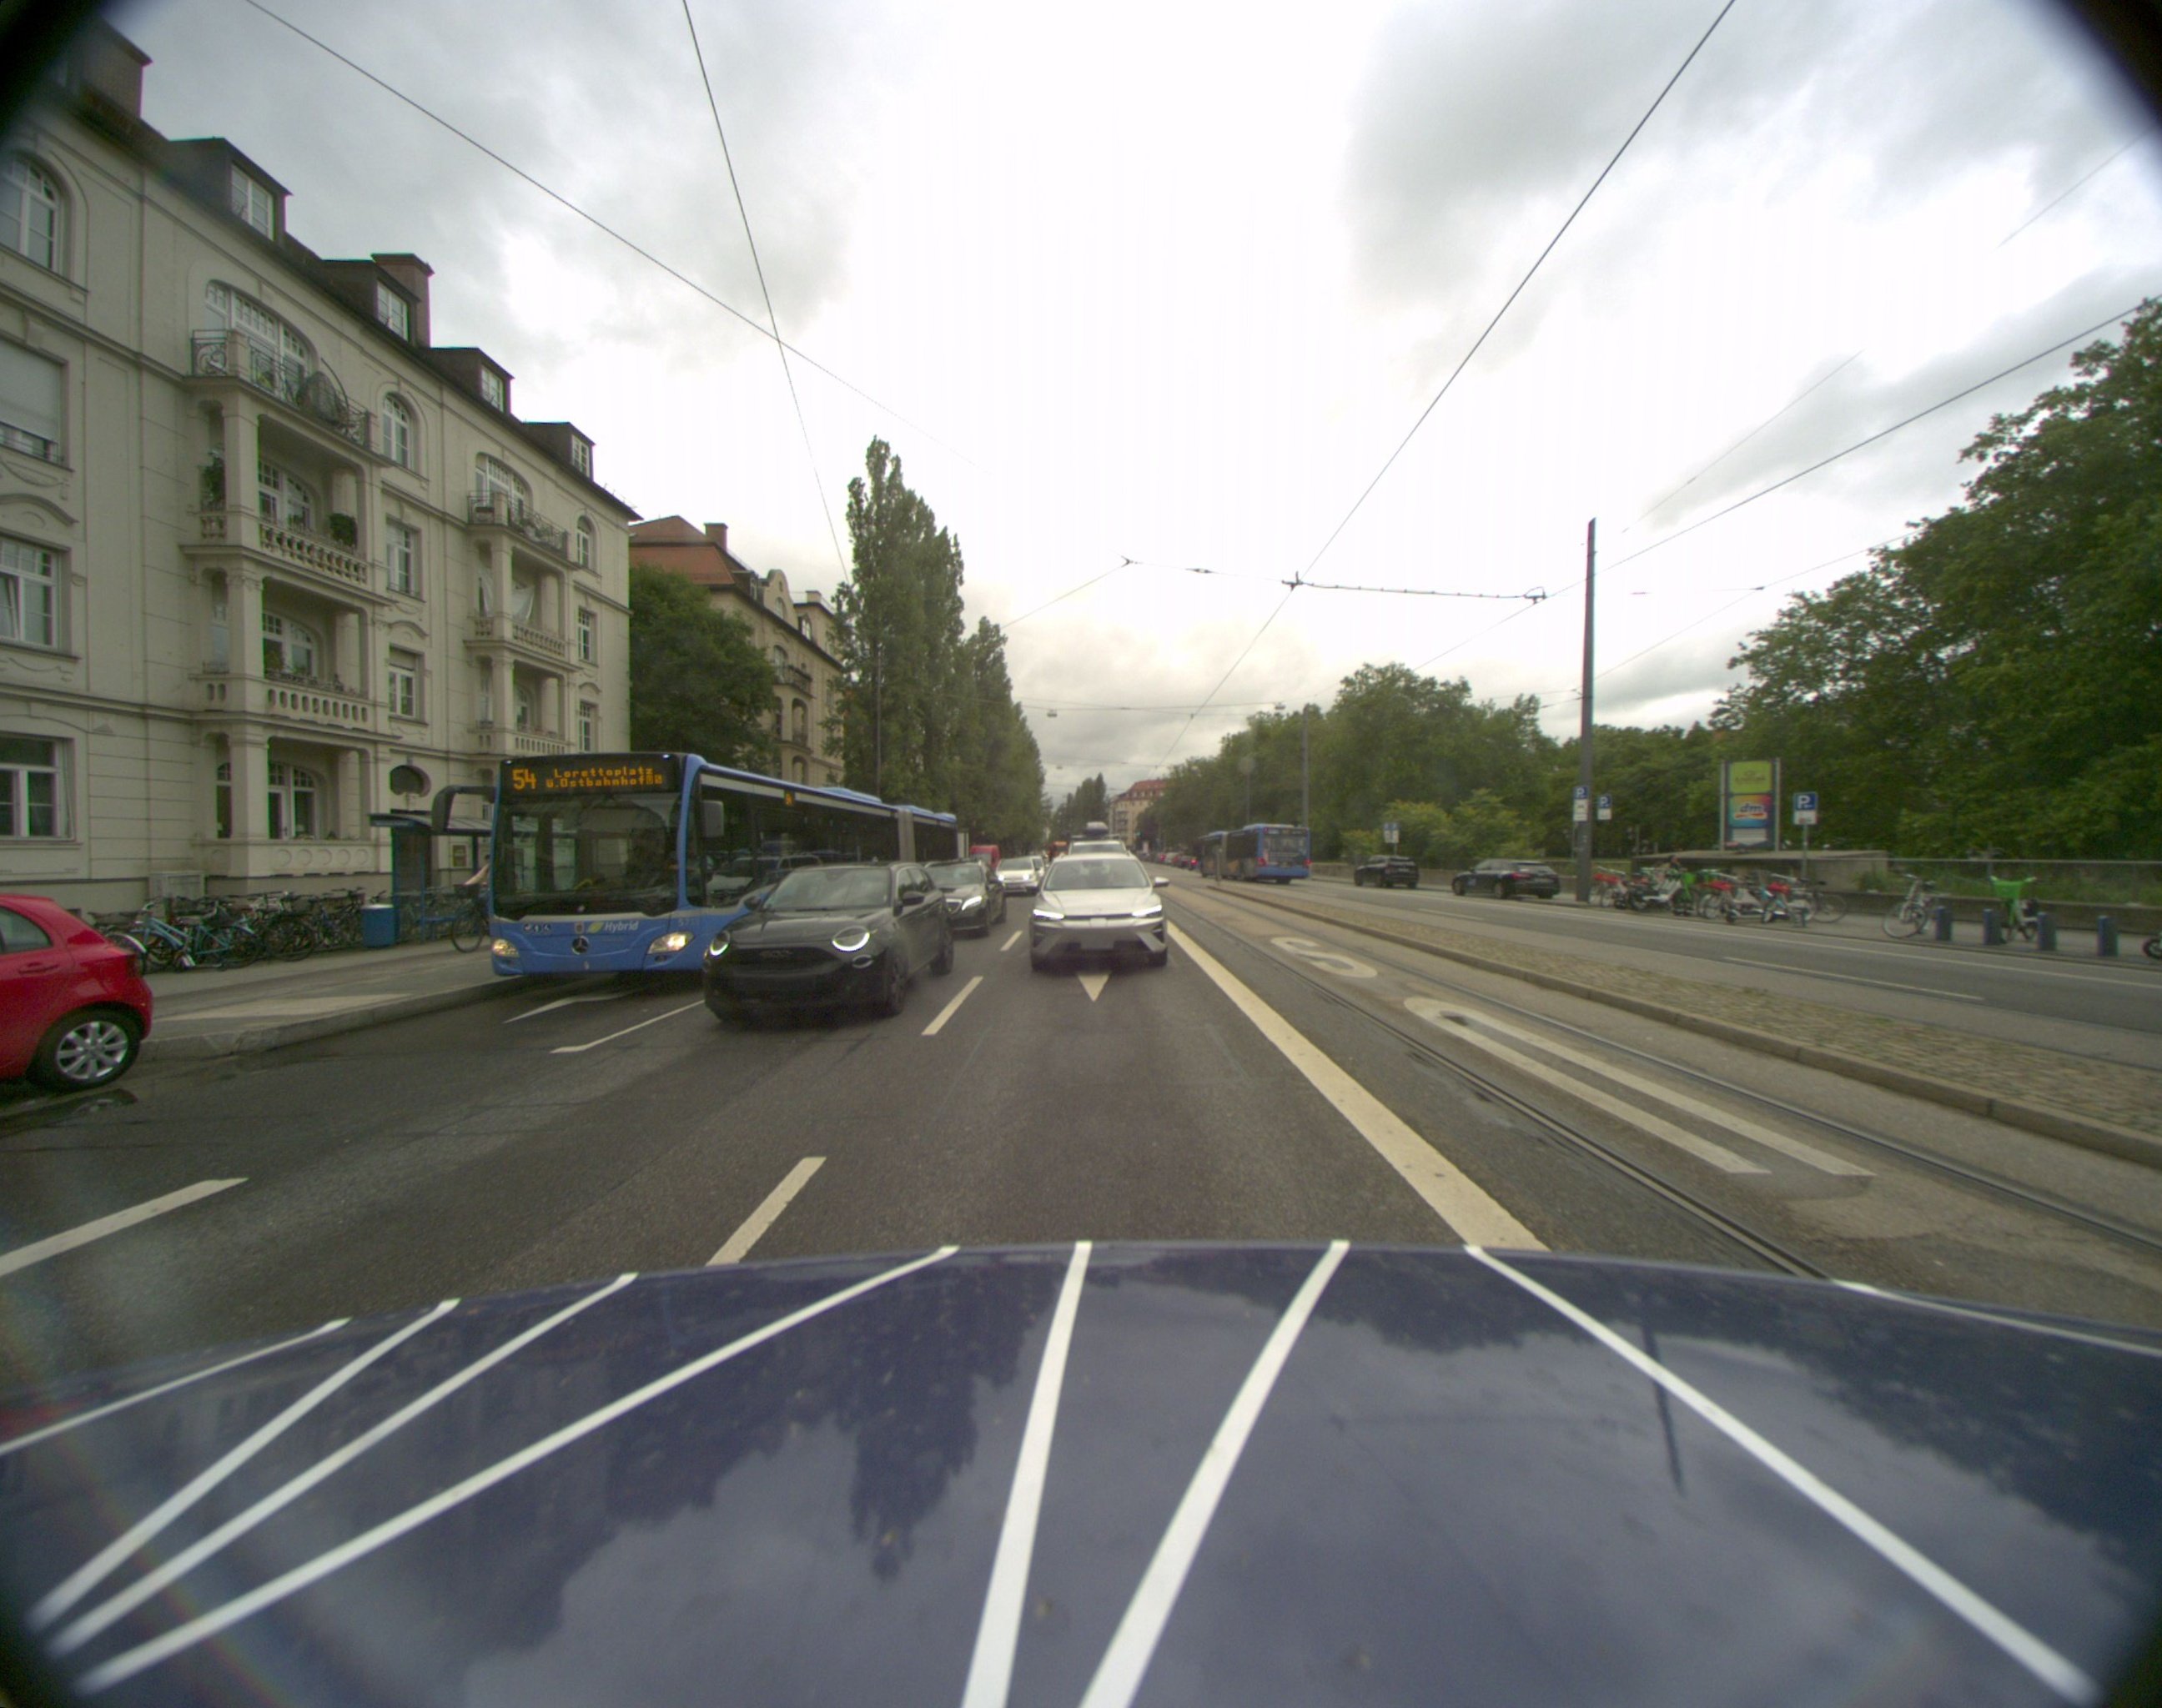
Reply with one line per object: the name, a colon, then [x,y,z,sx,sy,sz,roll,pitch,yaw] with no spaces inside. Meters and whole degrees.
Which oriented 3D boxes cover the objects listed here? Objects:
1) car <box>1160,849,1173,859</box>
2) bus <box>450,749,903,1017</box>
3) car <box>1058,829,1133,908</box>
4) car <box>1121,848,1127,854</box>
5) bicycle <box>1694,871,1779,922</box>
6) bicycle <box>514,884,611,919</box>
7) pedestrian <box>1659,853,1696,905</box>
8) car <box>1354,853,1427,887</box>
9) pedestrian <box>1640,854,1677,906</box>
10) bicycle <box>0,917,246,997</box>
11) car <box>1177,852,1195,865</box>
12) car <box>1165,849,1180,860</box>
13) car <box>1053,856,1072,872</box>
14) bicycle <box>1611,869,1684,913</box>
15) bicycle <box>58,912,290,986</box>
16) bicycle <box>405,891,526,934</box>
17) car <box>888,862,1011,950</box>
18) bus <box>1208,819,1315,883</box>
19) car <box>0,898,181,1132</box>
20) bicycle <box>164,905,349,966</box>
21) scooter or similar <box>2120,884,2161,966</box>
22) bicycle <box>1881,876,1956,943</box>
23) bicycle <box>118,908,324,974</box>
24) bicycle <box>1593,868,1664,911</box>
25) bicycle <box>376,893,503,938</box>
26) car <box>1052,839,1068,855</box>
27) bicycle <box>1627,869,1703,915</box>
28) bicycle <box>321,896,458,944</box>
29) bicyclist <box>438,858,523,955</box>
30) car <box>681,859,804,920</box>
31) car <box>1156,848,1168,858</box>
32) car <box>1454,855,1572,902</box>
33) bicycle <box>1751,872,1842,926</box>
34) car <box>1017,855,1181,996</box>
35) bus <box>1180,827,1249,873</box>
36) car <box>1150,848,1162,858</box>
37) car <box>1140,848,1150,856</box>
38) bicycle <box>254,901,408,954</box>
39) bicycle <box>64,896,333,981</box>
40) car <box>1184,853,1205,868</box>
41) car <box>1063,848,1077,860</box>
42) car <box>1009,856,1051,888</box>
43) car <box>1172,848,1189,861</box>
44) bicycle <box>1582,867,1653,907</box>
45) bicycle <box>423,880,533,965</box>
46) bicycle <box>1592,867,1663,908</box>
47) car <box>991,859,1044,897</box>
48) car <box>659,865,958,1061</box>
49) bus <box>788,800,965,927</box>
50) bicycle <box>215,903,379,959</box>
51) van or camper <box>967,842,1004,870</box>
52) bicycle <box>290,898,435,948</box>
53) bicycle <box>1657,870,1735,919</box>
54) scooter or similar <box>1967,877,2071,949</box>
car: [13.813,-0.036,122.823,1.809,1.674,4.000,0,1,1]
bus: [-5.702,0.299,13.367,2.637,2.957,9.466,-2,0,1]
car: [0.402,0.378,22.225,1.998,2.100,4.000,0,1,1]
car: [11.441,-0.744,201.683,1.628,1.474,3.602,0,1,1]
bicycle: [15.686,0.997,18.192,1.693,1.165,0.561,0,1,-9]
bicycle: [-14.909,1.367,21.886,2.323,0.916,0.600,-1,1,-2]
pedestrian: [18.321,0.761,23.354,0.632,1.549,0.589,1,1,0]
car: [15.167,0.762,37.490,1.998,1.561,4.101,0,1,1]
pedestrian: [17.628,0.795,23.204,0.632,1.549,0.589,1,1,0]
bicycle: [-13.624,1.436,10.820,2.326,0.916,0.586,-2,1,-16]
car: [13.021,0.554,94.458,1.809,1.633,4.000,0,1,1]
car: [13.777,0.055,114.441,1.809,1.674,4.000,0,1,1]
car: [-1.724,0.945,72.403,1.704,1.513,3.632,1,0,0]
bicycle: [15.298,0.987,20.532,1.693,1.165,0.505,0,1,-7]
bicycle: [-13.849,1.436,11.684,2.326,0.916,0.586,-2,1,-16]
bicycle: [-14.896,1.405,18.426,2.323,0.916,0.640,-1,1,-2]
car: [-2.555,0.958,15.761,1.704,1.425,4.244,-3,1,1]
bus: [9.701,-0.197,42.861,2.632,2.950,13.413,1,1,-1]
car: [-8.150,1.128,4.268,1.730,1.500,3.742,1,1,0]
bicycle: [-14.739,1.449,13.638,2.325,0.916,0.586,-2,1,-11]
scooter or similar: [16.554,1.038,11.215,1.692,1.165,0.562,0,1,-2]
bicycle: [15.972,1.025,14.486,1.696,1.165,0.560,0,1,-29]
bicycle: [-14.509,1.448,12.893,2.326,0.916,0.586,-2,1,-16]
bicycle: [15.235,0.983,21.151,1.693,1.165,0.505,0,1,-6]
bicycle: [-14.789,1.410,17.552,2.323,0.916,0.640,-1,1,-2]
car: [-3.925,-1.322,142.384,2.806,2.836,5.114,1,1,1]
bicycle: [15.321,0.992,19.951,1.693,1.165,0.561,0,1,-9]
bicycle: [-15.106,1.431,16.633,2.323,0.916,0.640,-1,1,-2]
bicyclist: [-10.338,0.875,13.109,0.681,1.594,0.939,0,1,1]
car: [-9.242,0.916,21.078,1.730,1.465,3.742,0,1,0]
car: [13.781,-0.105,129.420,1.809,1.674,4.000,0,1,1]
car: [15.388,0.810,27.364,1.864,1.517,4.232,1,1,1]
bicycle: [16.028,0.996,17.023,1.693,1.165,0.561,0,1,-9]
car: [0.275,0.822,11.142,1.812,1.496,4.952,-2,1,2]
bus: [9.545,-0.332,55.951,2.632,2.950,12.843,1,1,-1]
car: [13.582,-0.182,137.388,1.809,1.674,4.000,0,1,1]
car: [13.245,-0.381,157.490,1.809,1.674,4.000,0,1,1]
bicycle: [-14.825,1.437,15.061,2.323,0.916,0.640,-1,1,-2]
bicycle: [-14.155,1.329,12.300,2.923,1.142,0.639,-2,1,-17]
car: [12.827,0.674,85.716,1.809,1.633,4.000,0,1,1]
car: [-1.452,-0.028,98.587,1.704,1.513,3.632,1,1,0]
car: [-2.336,0.808,35.575,1.704,1.379,3.632,1,0,0]
car: [13.568,0.089,103.776,1.809,1.674,4.000,0,1,1]
bicycle: [15.798,0.960,22.390,1.692,1.165,0.562,0,1,-2]
bicycle: [-10.377,1.138,13.160,0.424,1.281,1.778,0,1,2]
bicycle: [15.700,0.958,21.847,1.693,1.165,0.505,0,1,-3]
car: [-2.405,0.884,29.457,1.704,1.360,3.632,1,0,0]
car: [-2.630,0.955,8.435,1.780,1.495,3.970,-3,1,1]
bus: [-5.520,0.194,22.385,2.637,2.957,8.533,-2,1,1]
bicycle: [-14.770,1.443,14.352,2.323,0.916,0.640,-1,1,-2]
van or camper: [-7.243,0.128,58.138,2.124,2.087,5.513,0,1,0]
bicycle: [-15.014,1.436,15.912,2.323,0.916,0.640,-1,1,-2]
bicycle: [15.371,1.001,18.991,1.693,1.165,0.505,0,1,-9]
scooter or similar: [16.536,1.015,13.396,1.695,1.165,0.561,0,1,-18]
